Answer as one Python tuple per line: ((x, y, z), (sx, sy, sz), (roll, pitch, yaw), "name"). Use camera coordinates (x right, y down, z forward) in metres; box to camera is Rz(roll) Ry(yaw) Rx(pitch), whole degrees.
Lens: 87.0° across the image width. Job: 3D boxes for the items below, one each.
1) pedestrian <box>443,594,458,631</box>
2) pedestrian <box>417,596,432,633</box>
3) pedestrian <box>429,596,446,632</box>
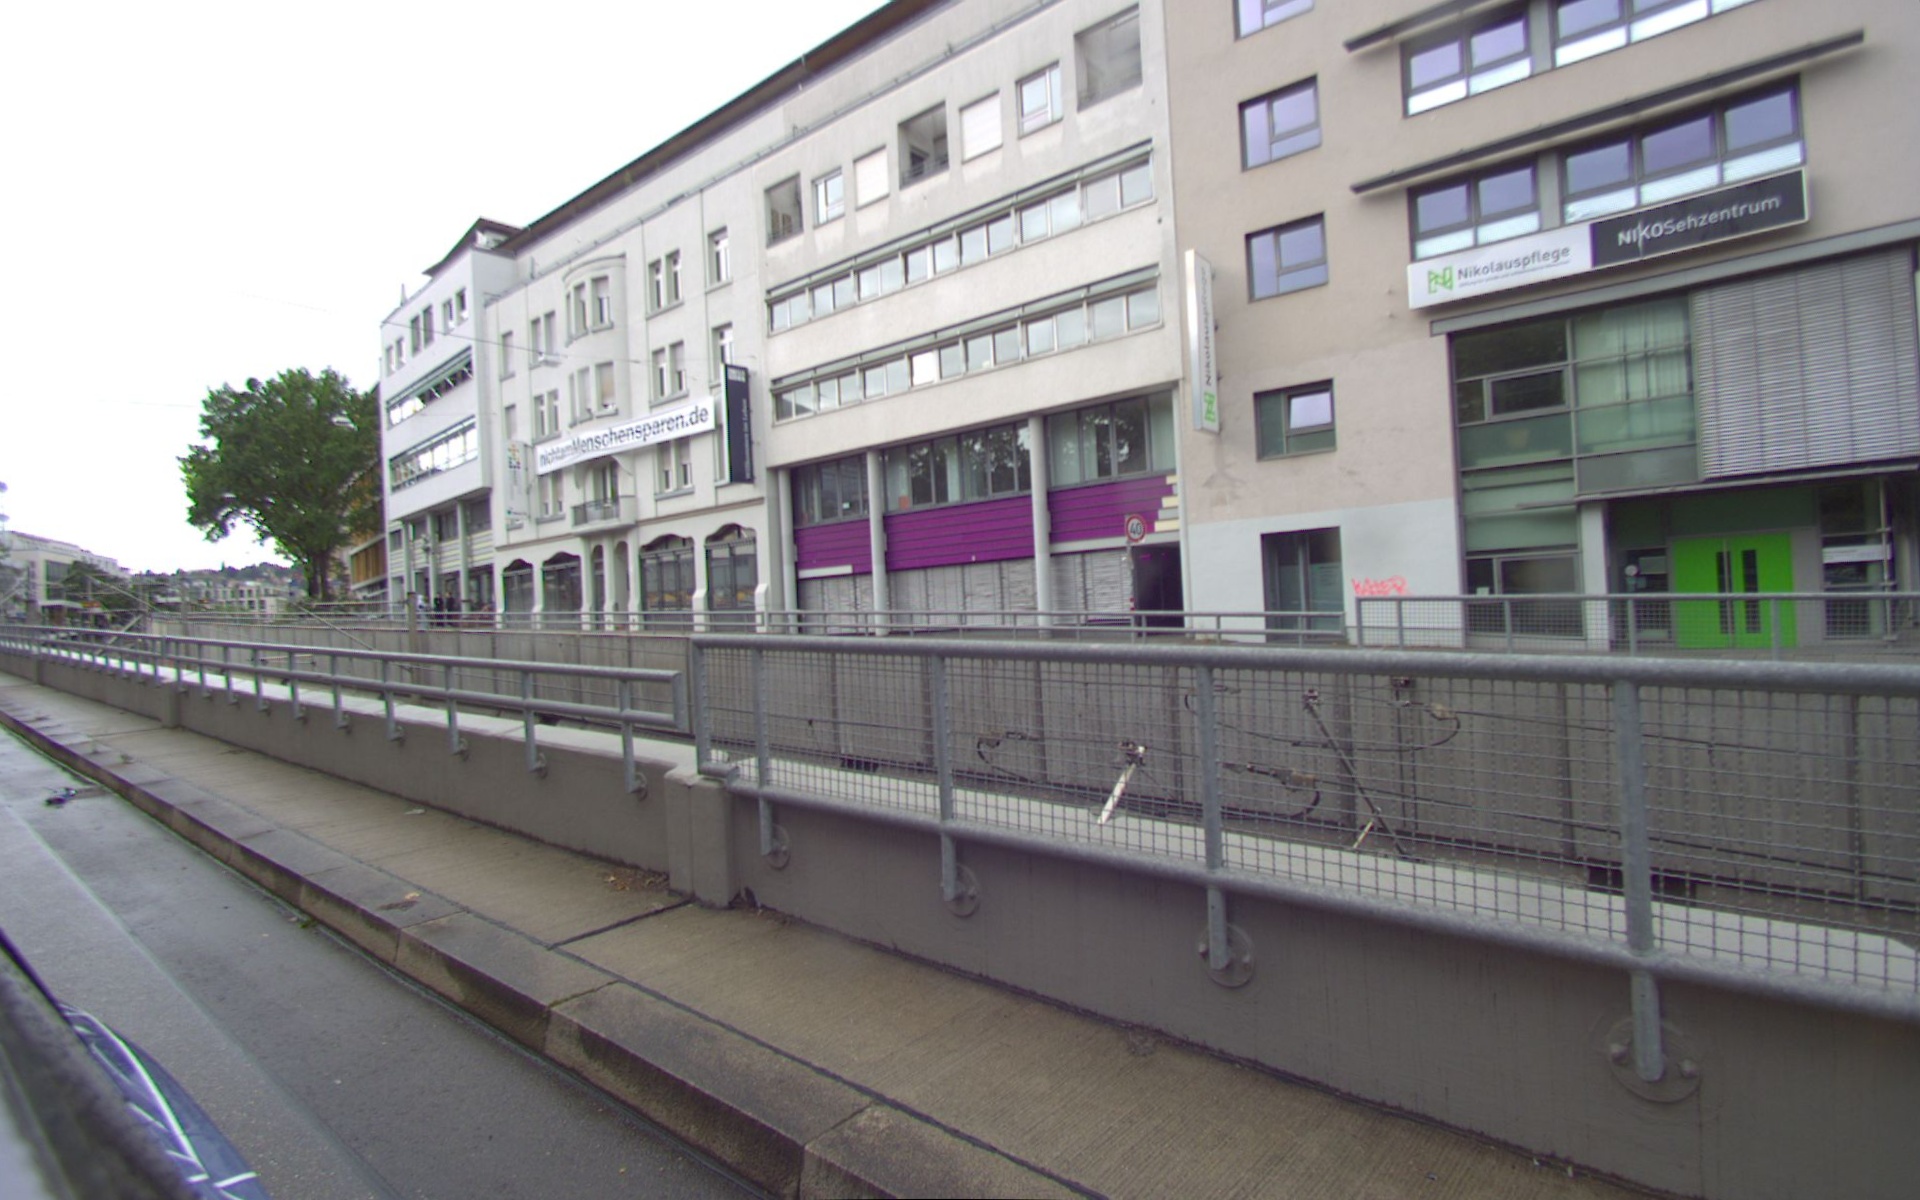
((-25.426, 0.612, 50.472), (0.547, 1.816, 0.463), (-2, 1, 44), "pedestrian")
((-26.730, 0.709, 50.521), (0.463, 1.816, 0.548), (-3, 1, -42), "pedestrian")
((-26.441, 0.712, 51.220), (0.469, 1.816, 0.541), (-2, 1, 33), "pedestrian")
